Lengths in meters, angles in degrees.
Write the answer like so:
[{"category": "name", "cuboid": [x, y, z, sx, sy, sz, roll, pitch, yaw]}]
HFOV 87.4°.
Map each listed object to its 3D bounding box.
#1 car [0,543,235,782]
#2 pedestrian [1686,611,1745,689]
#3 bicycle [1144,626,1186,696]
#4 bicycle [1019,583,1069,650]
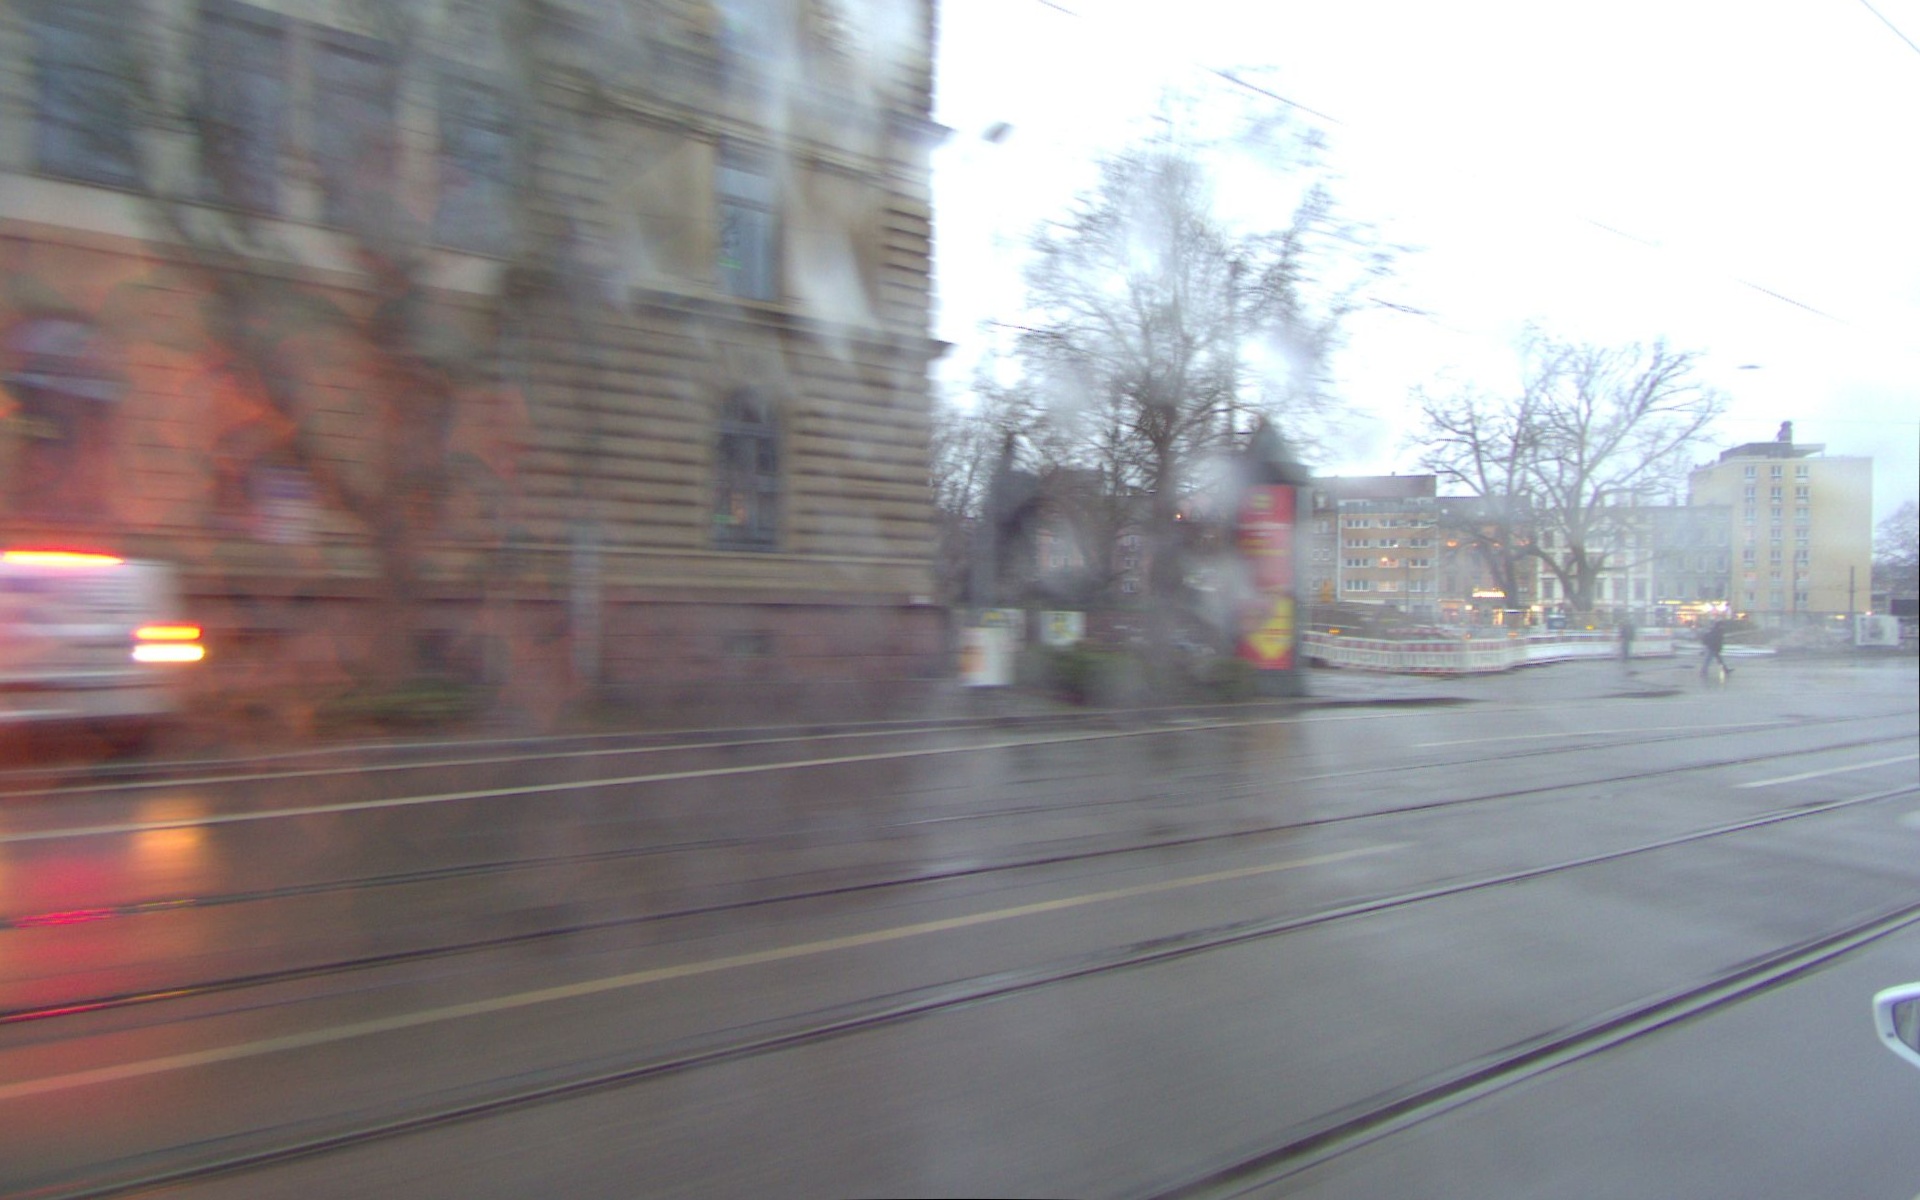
[{"category": "car", "cuboid": [-10.079, 0.465, 10.427, 4.711, 2.061, 1.912, 2, 1, 22]}, {"category": "pedestrian", "cuboid": [24.097, 1.575, 32.069, 1.043, 2.402, 0.996, 2, 1, 0]}, {"category": "bicycle", "cuboid": [5.528, 1.589, 26.965, 0.699, 1.711, 2.429, 2, 1, 20]}, {"category": "bicycle", "cuboid": [2.307, 0.429, 27.389, 0.699, 1.711, 2.429, 2, 1, 20]}]
